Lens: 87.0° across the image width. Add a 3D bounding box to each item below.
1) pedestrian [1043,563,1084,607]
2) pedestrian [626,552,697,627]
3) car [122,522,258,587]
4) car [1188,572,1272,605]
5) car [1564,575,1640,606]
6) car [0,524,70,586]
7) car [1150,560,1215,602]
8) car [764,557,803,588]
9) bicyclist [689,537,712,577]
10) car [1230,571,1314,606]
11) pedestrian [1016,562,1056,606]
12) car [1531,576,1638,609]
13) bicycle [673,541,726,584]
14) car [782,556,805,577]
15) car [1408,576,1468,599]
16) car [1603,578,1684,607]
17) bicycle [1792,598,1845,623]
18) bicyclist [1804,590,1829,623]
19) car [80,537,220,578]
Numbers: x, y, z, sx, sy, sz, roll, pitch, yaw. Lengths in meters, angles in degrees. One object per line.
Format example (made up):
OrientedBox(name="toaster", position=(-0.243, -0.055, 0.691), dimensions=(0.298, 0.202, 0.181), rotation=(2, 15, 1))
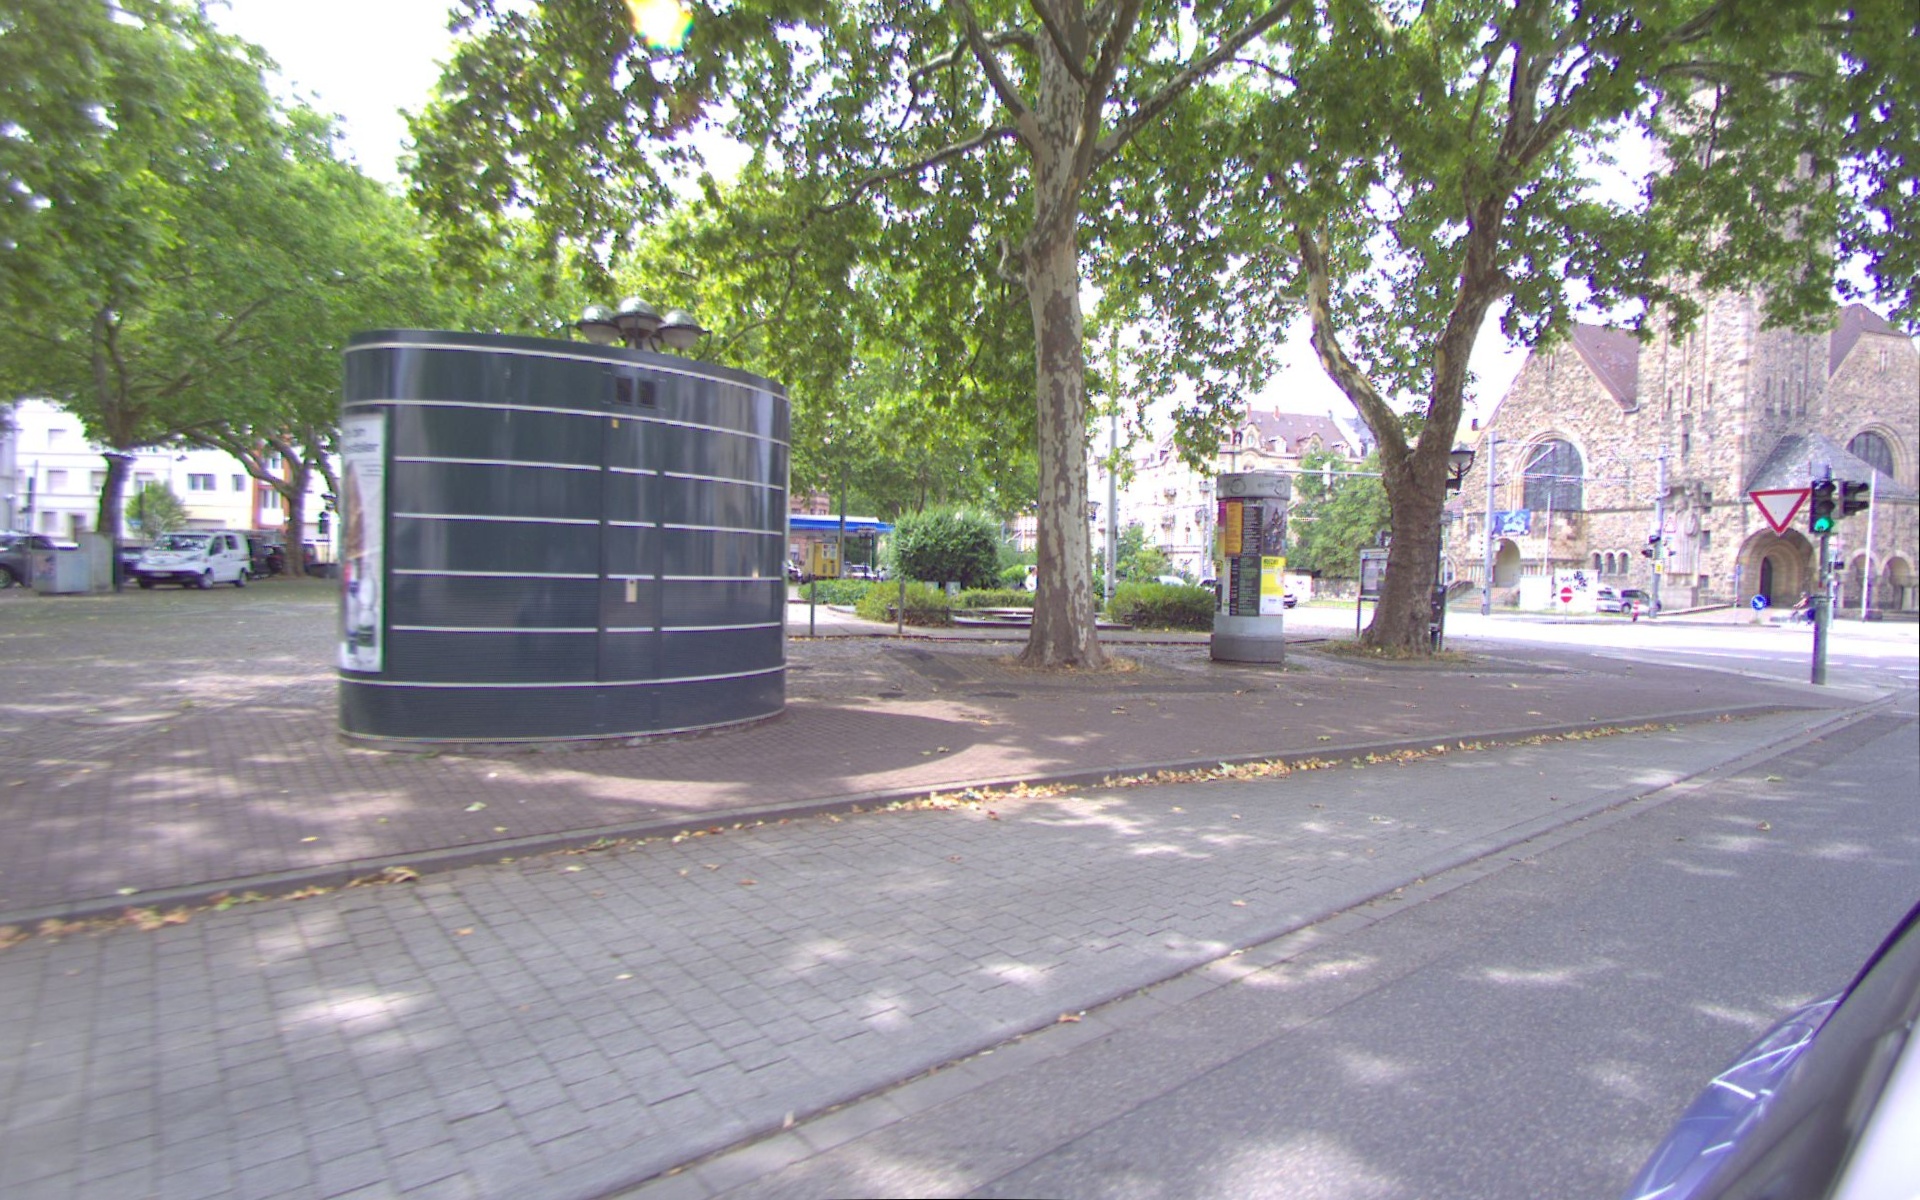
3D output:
OrientedBox(name="pedestrian", position=(3.261, -0.492, 31.891), dimensions=(0.849, 1.334, 1.182), rotation=(2, 1, -17))
OrientedBox(name="pedestrian", position=(-5.056, -0.191, 17.211), dimensions=(1.117, 1.227, 1.102), rotation=(1, 2, -15))
OrientedBox(name="car", position=(-24.291, -1.426, 32.137), dimensions=(1.958, 1.838, 4.343), rotation=(1, 2, -16))
OrientedBox(name="car", position=(12.563, -0.581, 47.394), dimensions=(1.800, 1.400, 4.298), rotation=(2, 1, -16))
OrientedBox(name="car", position=(41.547, -0.618, 65.529), dimensions=(3.871, 1.905, 2.005), rotation=(1, 1, -15))
OrientedBox(name="car", position=(-30.055, -1.397, 30.870), dimensions=(3.916, 1.838, 1.922), rotation=(1, 2, -20))
OrientedBox(name="car", position=(11.497, -1.010, 52.590), dimensions=(1.959, 2.038, 4.007), rotation=(1, 2, -7))
OrientedBox(name="car", position=(-11.109, -1.738, 63.959), dimensions=(1.961, 1.838, 4.003), rotation=(2, 1, -3))
OrientedBox(name="bicyclist", position=(-11.104, -1.824, 43.323), dimensions=(0.849, 1.673, 0.563), rotation=(2, 1, -18))
OrientedBox(name="car", position=(15.166, -0.589, 49.446), dimensions=(1.800, 1.530, 4.298), rotation=(2, 1, -16))
OrientedBox(name="pedestrian", position=(2.365, -0.503, 31.626), dimensions=(0.849, 1.334, 1.182), rotation=(2, 1, -17))
OrientedBox(name="car", position=(32.220, -0.421, 52.395), dimensions=(1.732, 1.542, 4.859), rotation=(2, 2, -13))
OrientedBox(name="bicycle", position=(-11.141, -1.609, 43.268), dimensions=(2.138, 1.727, 0.724), rotation=(2, 1, -17))
OrientedBox(name="car", position=(-17.189, -3.408, 104.199), dimensions=(1.958, 2.038, 4.009), rotation=(2, 1, -14))
OrientedBox(name="car", position=(37.537, -0.987, 79.476), dimensions=(3.871, 1.661, 2.005), rotation=(1, 2, -15))
OrientedBox(name="car", position=(42.171, -0.472, 62.465), dimensions=(3.916, 1.671, 2.005), rotation=(1, 2, -15))
OrientedBox(name="bicycle", position=(39.079, 0.470, 46.097), dimensions=(1.807, 1.099, 0.589), rotation=(1, 0, 45))
OrientedBox(name="bicyclist", position=(39.057, 0.285, 46.126), dimensions=(0.837, 1.516, 0.579), rotation=(0, 0, 44))
OrientedBox(name="car", position=(-32.942, -1.718, 41.257), dimensions=(4.018, 1.501, 2.003), rotation=(2, 2, -6))
